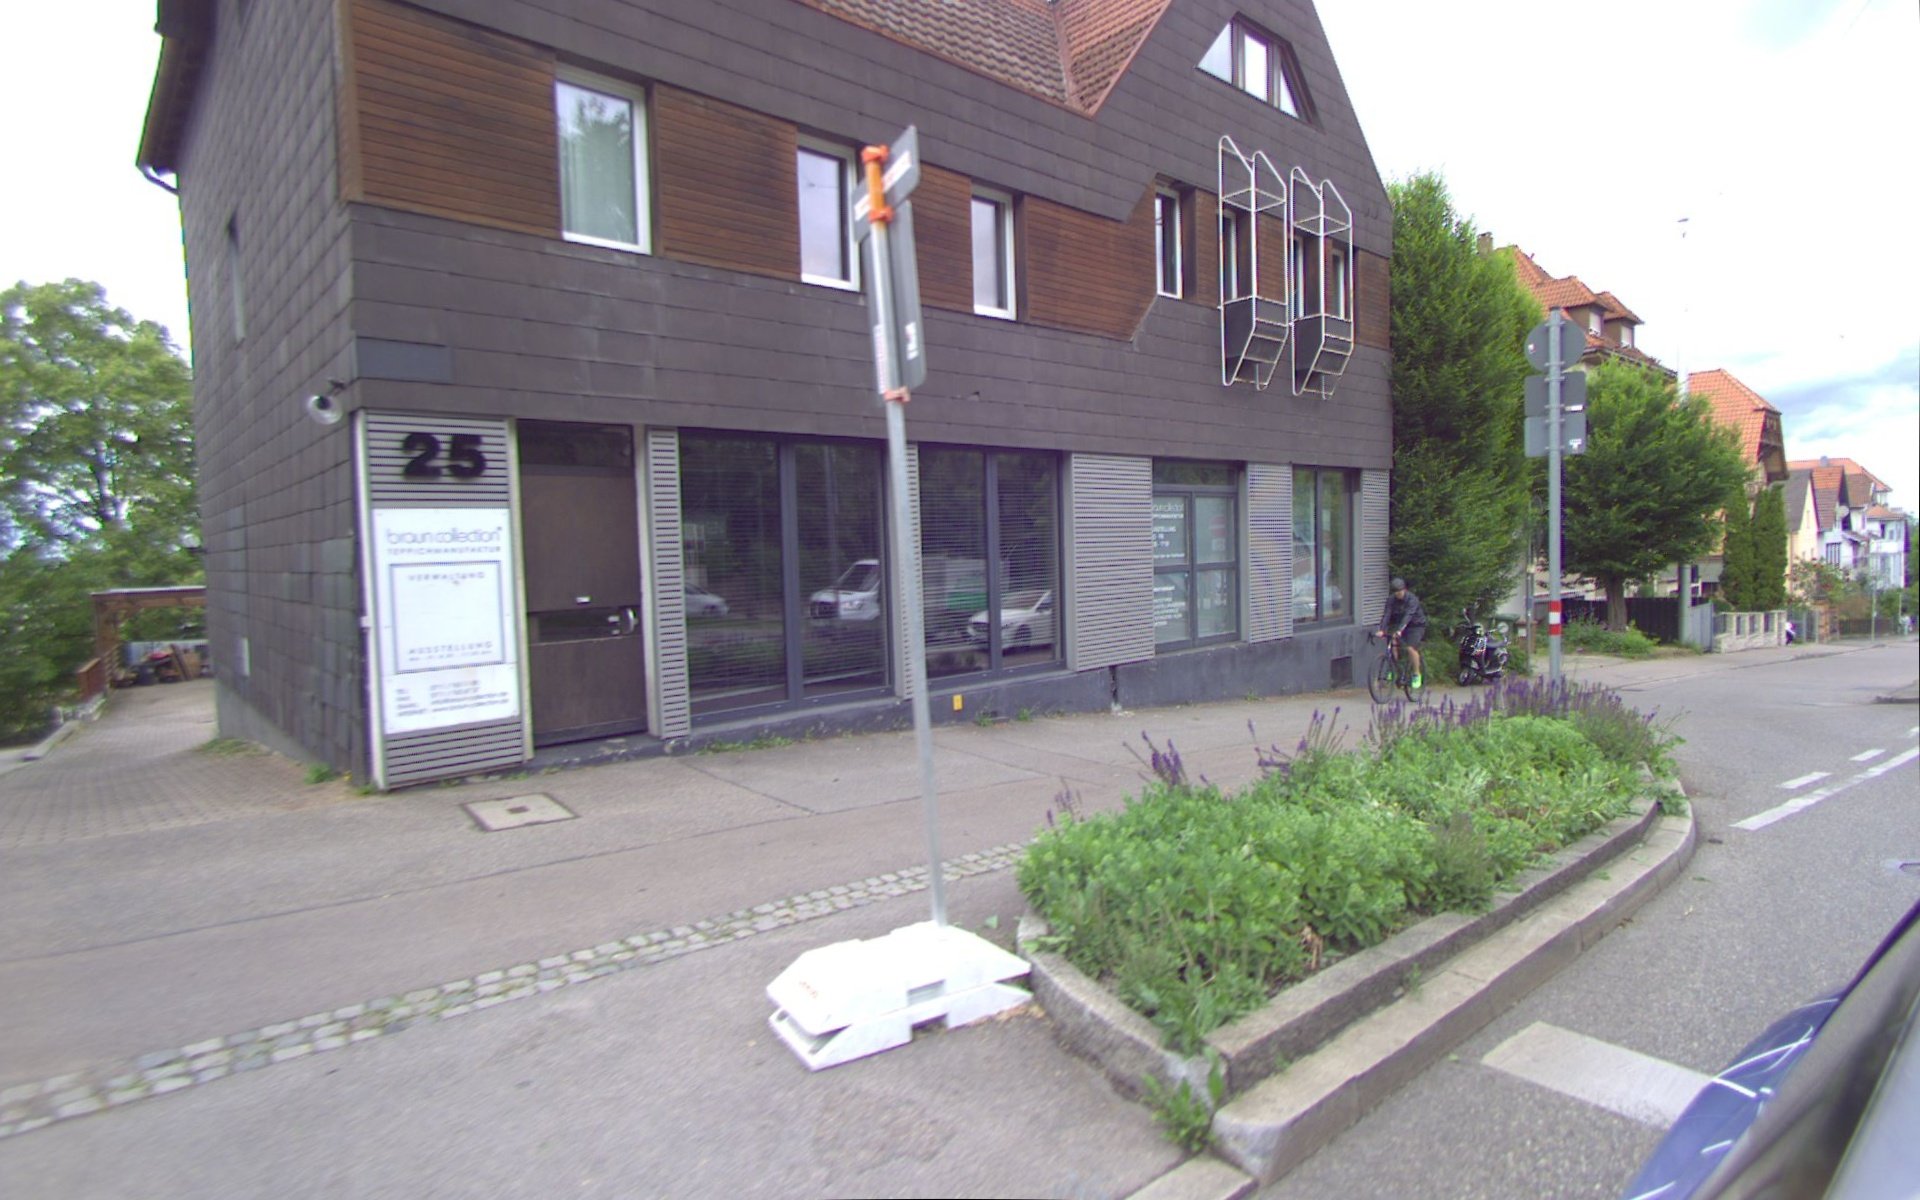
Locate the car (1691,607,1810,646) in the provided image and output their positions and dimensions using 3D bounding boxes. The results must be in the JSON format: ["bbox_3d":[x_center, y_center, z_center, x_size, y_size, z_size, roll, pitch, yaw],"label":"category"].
[{"bbox_3d":[33.825,1.153,43.436,3.766,1.423,1.529,-5,-4,32],"label":"car"}]

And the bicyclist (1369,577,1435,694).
[{"bbox_3d":[6.467,0.505,14.786,0.930,1.654,0.538,1,-1,-41],"label":"bicyclist"}]

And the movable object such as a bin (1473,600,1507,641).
[{"bbox_3d":[15.086,0.571,28.794,0.644,1.092,0.543,1,6,-41],"label":"movable object such as a bin"}]

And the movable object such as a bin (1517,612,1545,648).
[{"bbox_3d":[15.859,0.835,28.094,0.551,0.951,0.453,1,4,-41],"label":"movable object such as a bin"}]

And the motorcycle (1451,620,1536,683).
[{"bbox_3d":[9.962,0.938,18.877,1.932,1.064,0.697,0,1,-40],"label":"motorcycle"}]

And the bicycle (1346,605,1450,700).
[{"bbox_3d":[6.401,0.737,14.727,2.003,1.278,0.572,1,0,-42],"label":"bicycle"}]

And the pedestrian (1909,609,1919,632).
[{"bbox_3d":[63.150,1.333,66.797,0.683,1.490,0.712,1,-1,-42],"label":"pedestrian"}]

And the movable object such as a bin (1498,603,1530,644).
[{"bbox_3d":[15.555,0.657,28.420,0.551,1.067,0.543,1,6,-41],"label":"movable object such as a bin"}]
